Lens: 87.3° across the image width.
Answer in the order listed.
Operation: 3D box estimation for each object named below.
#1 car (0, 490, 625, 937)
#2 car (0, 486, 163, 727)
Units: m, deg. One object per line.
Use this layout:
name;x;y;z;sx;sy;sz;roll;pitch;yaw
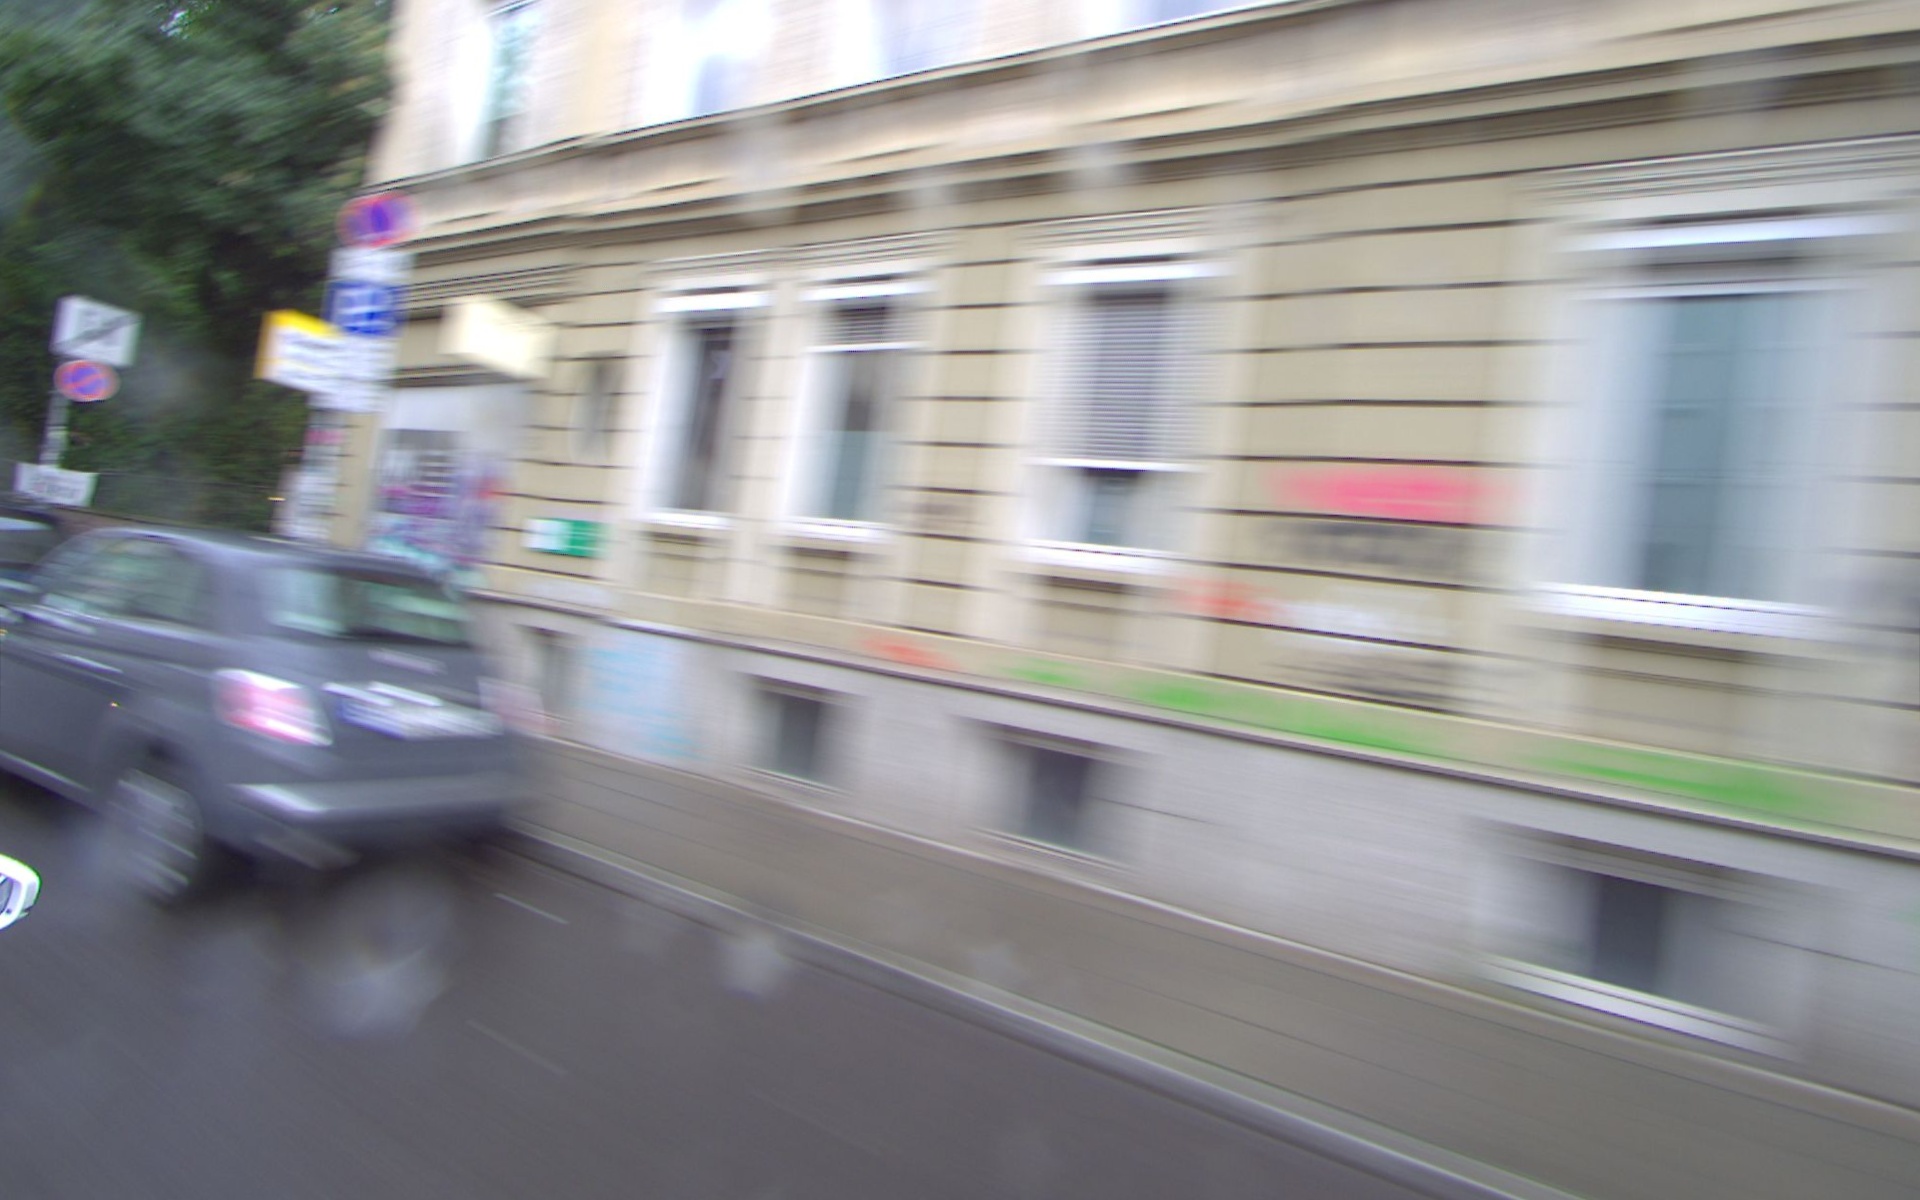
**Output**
car;-3.925;0.375;5.386;3.933;1.505;1.744;7;-4;31
car;-7.905;-0.167;7.473;3.971;1.532;1.648;7;-3;31
